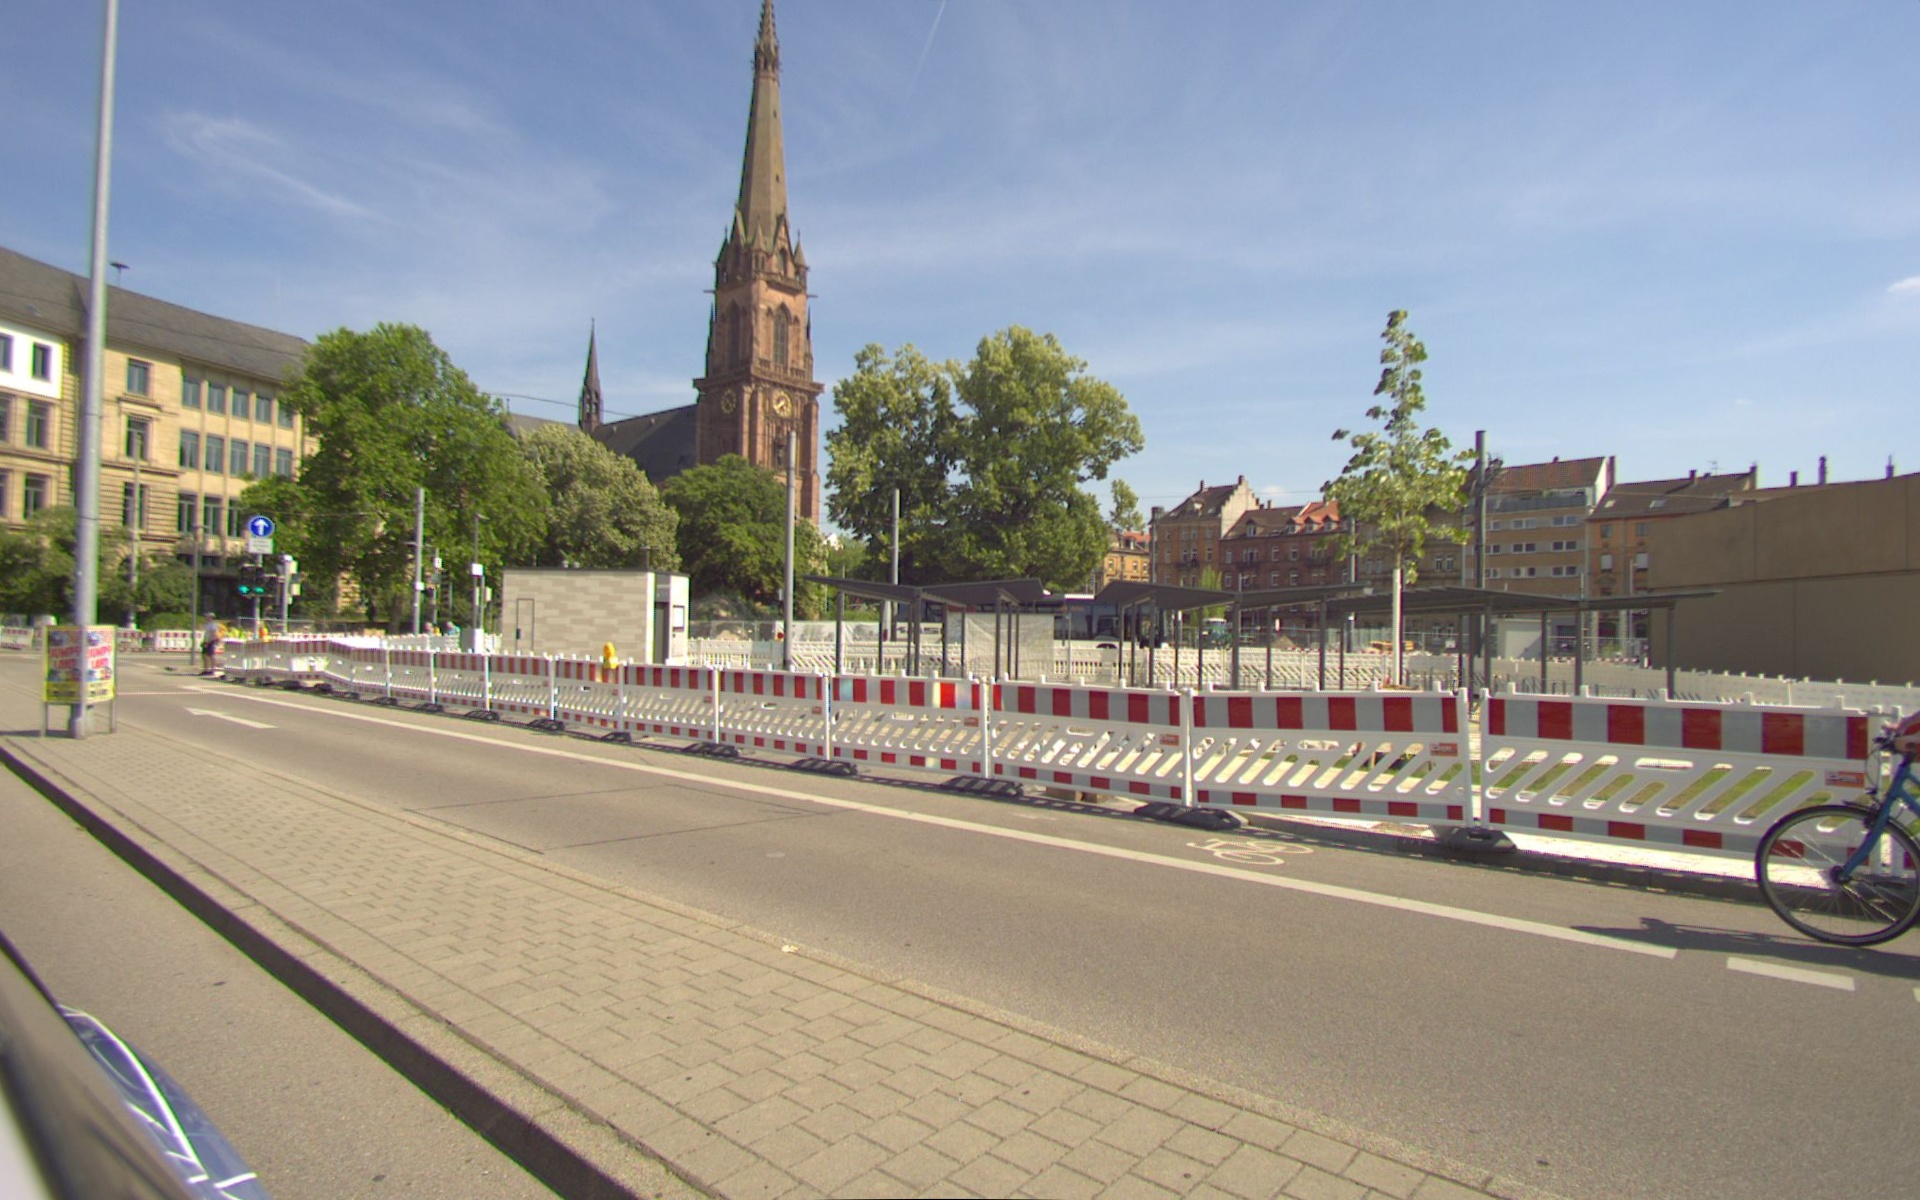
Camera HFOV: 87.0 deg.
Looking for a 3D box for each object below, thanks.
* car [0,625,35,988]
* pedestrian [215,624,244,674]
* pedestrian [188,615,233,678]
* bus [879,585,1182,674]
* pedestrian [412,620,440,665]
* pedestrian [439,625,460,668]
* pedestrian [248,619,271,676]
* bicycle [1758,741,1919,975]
[{"bbox_3d":[-6.475,0.856,5.131,4.821,1.530,1.841,0,-2,38],"label":"car"},{"bbox_3d":[-23.401,1.555,32.416,0.423,1.555,0.659,-1,0,41],"label":"pedestrian"},{"bbox_3d":[-22.137,1.372,29.888,0.828,1.826,0.651,0,-2,-9],"label":"pedestrian"},{"bbox_3d":[2.968,1.240,43.333,12.504,3.516,2.856,1,-2,7],"label":"bus"},{"bbox_3d":[-19.691,1.568,37.321,0.652,1.628,0.795,0,-2,-8],"label":"pedestrian"},{"bbox_3d":[-19.392,1.757,38.436,0.576,1.628,0.691,1,-2,-16],"label":"pedestrian"},{"bbox_3d":[-20.385,1.382,29.447,0.686,1.628,0.346,-1,-3,42],"label":"pedestrian"},{"bbox_3d":[4.814,1.200,4.485,1.964,0.968,0.613,-1,-5,37],"label":"bicycle"}]
